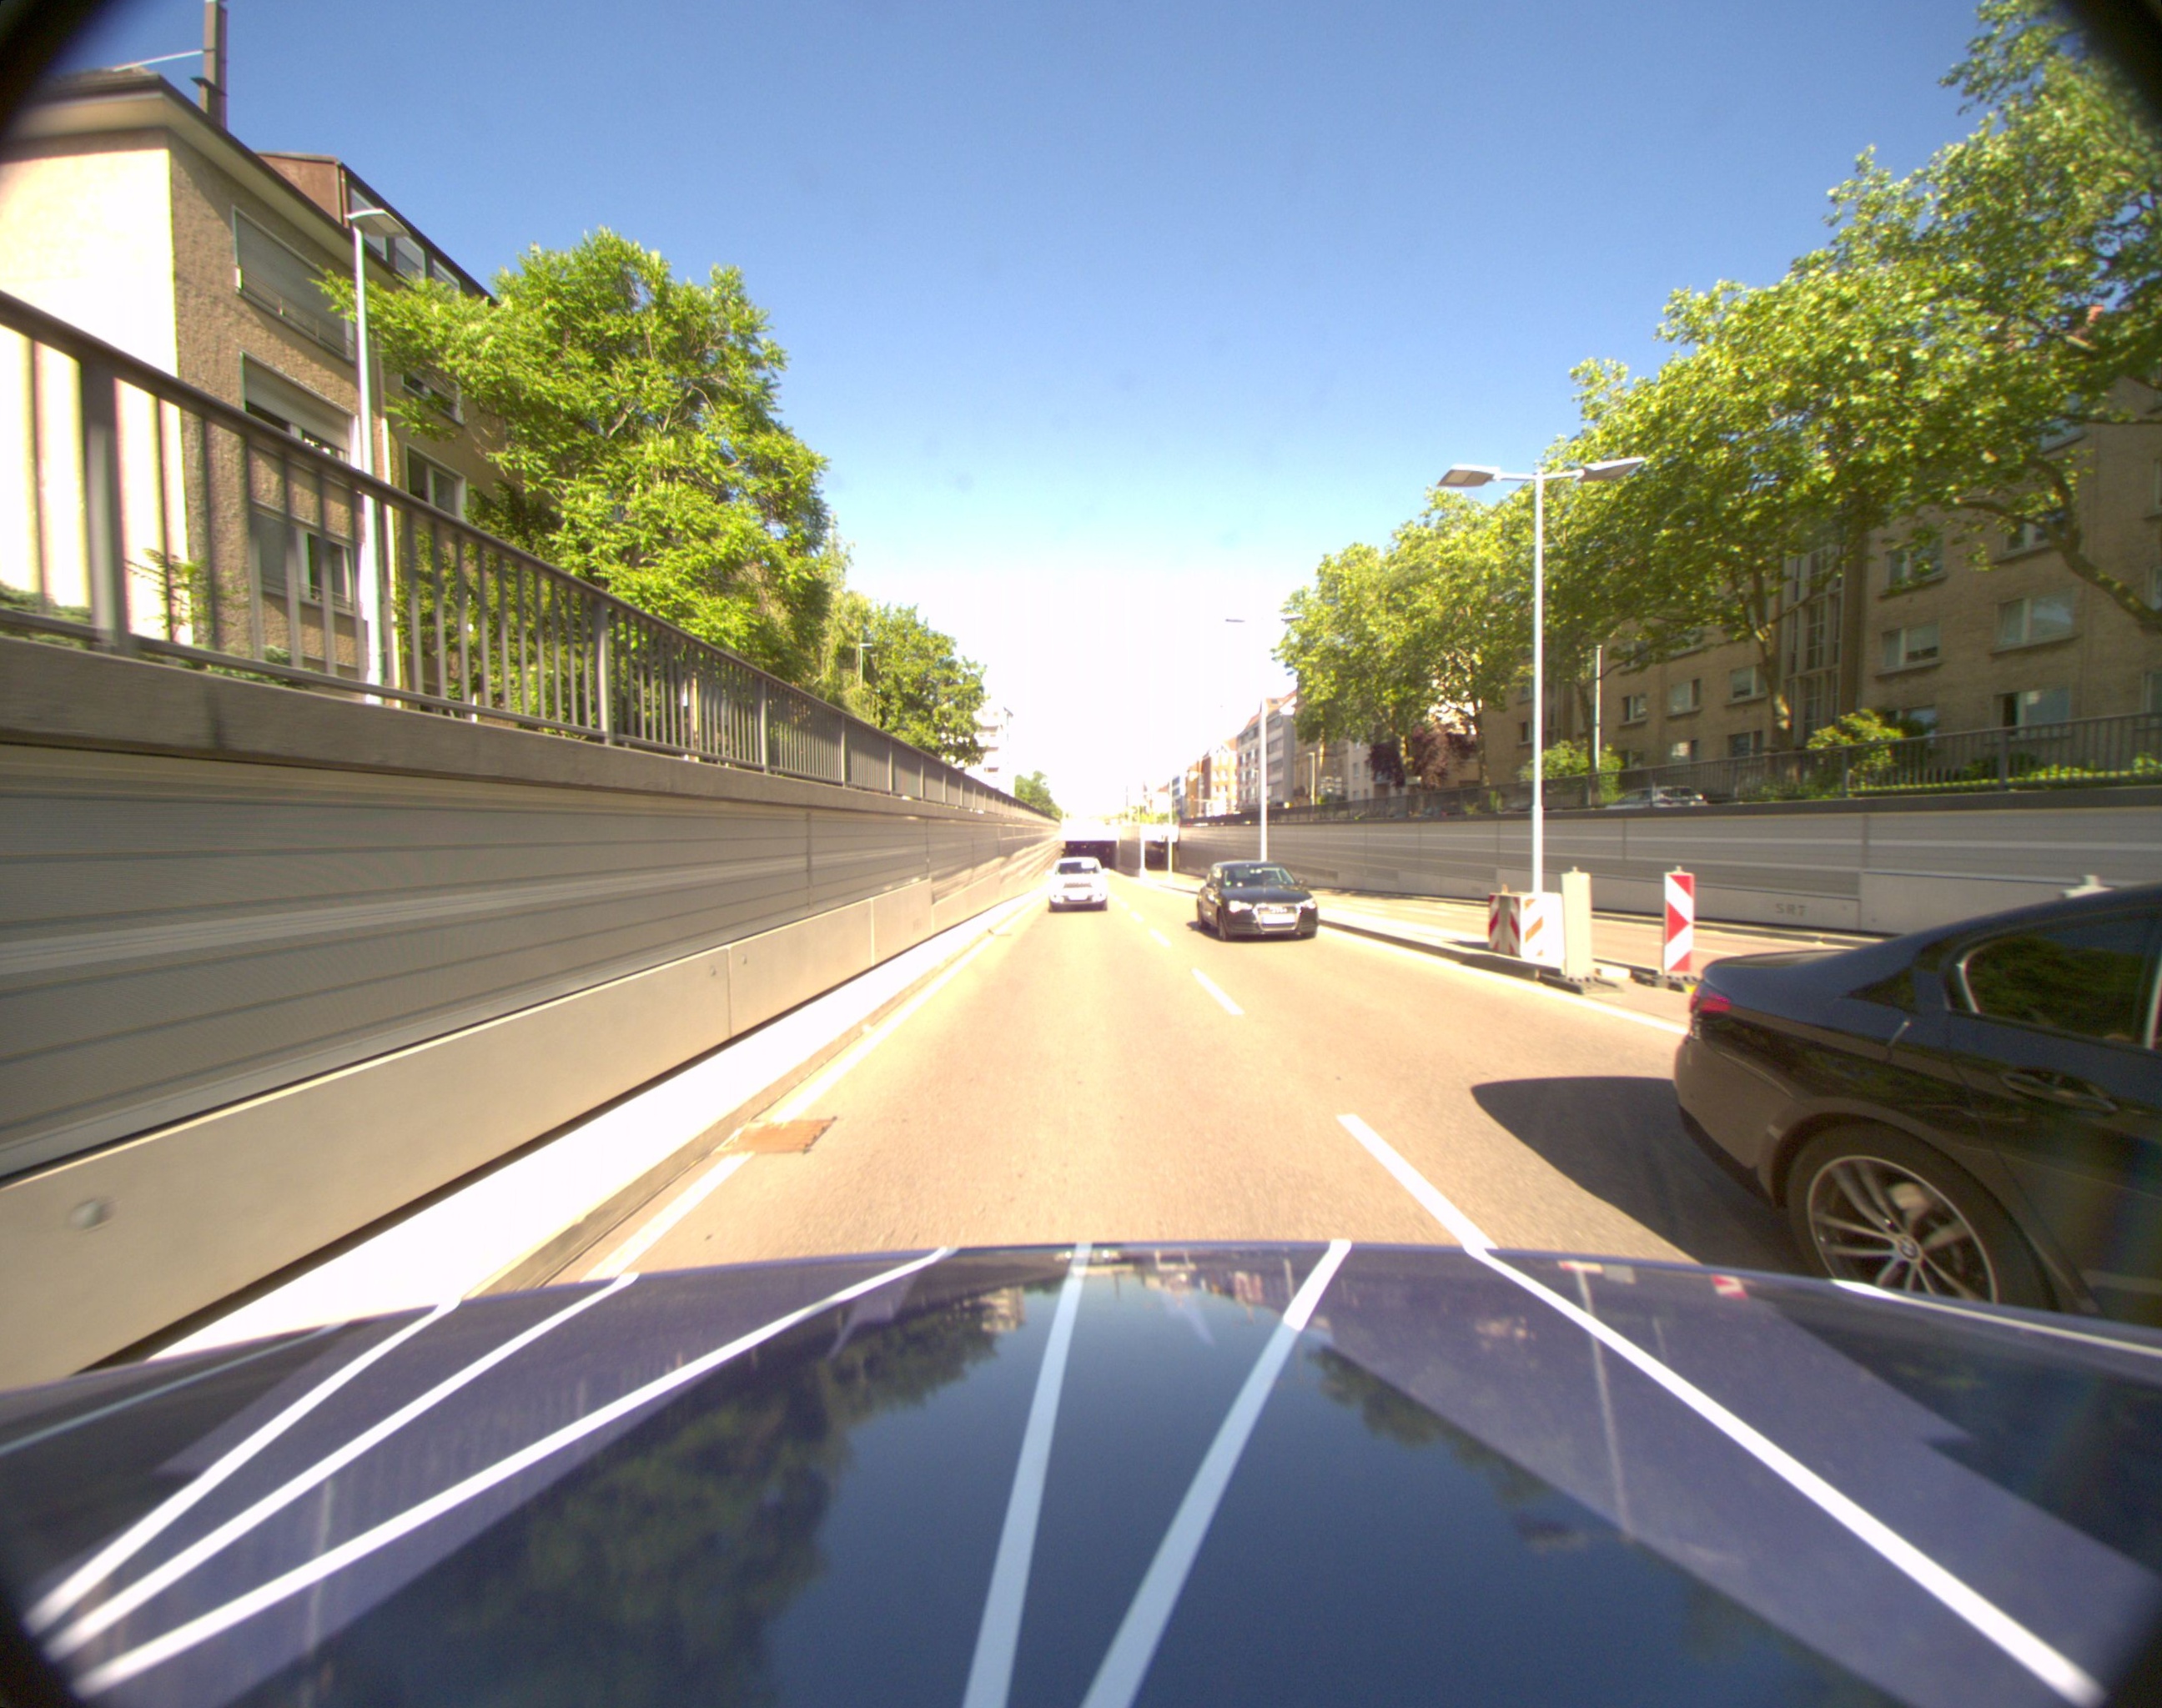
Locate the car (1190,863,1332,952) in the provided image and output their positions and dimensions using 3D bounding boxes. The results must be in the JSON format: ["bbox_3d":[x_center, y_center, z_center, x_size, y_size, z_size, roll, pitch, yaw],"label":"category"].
[{"bbox_3d":[3.259,0.915,14.520,1.700,1.410,3.889,-2,-1,-1],"label":"car"}]

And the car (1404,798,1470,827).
[{"bbox_3d":[21.977,-2.524,47.104,1.926,1.575,4.302,-2,1,-2],"label":"car"}]

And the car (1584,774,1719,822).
[{"bbox_3d":[22.158,-2.130,29.751,1.926,1.575,4.302,-2,1,-2],"label":"car"}]

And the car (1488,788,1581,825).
[{"bbox_3d":[22.366,-2.306,37.715,1.926,1.575,4.302,-2,1,-2],"label":"car"}]

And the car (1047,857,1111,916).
[{"bbox_3d":[-0.058,0.975,24.654,1.855,1.658,3.970,-2,0,0],"label":"car"}]

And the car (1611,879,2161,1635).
[{"bbox_3d":[3.083,0.829,0.567,1.813,1.431,5.002,-2,0,0],"label":"car"}]
